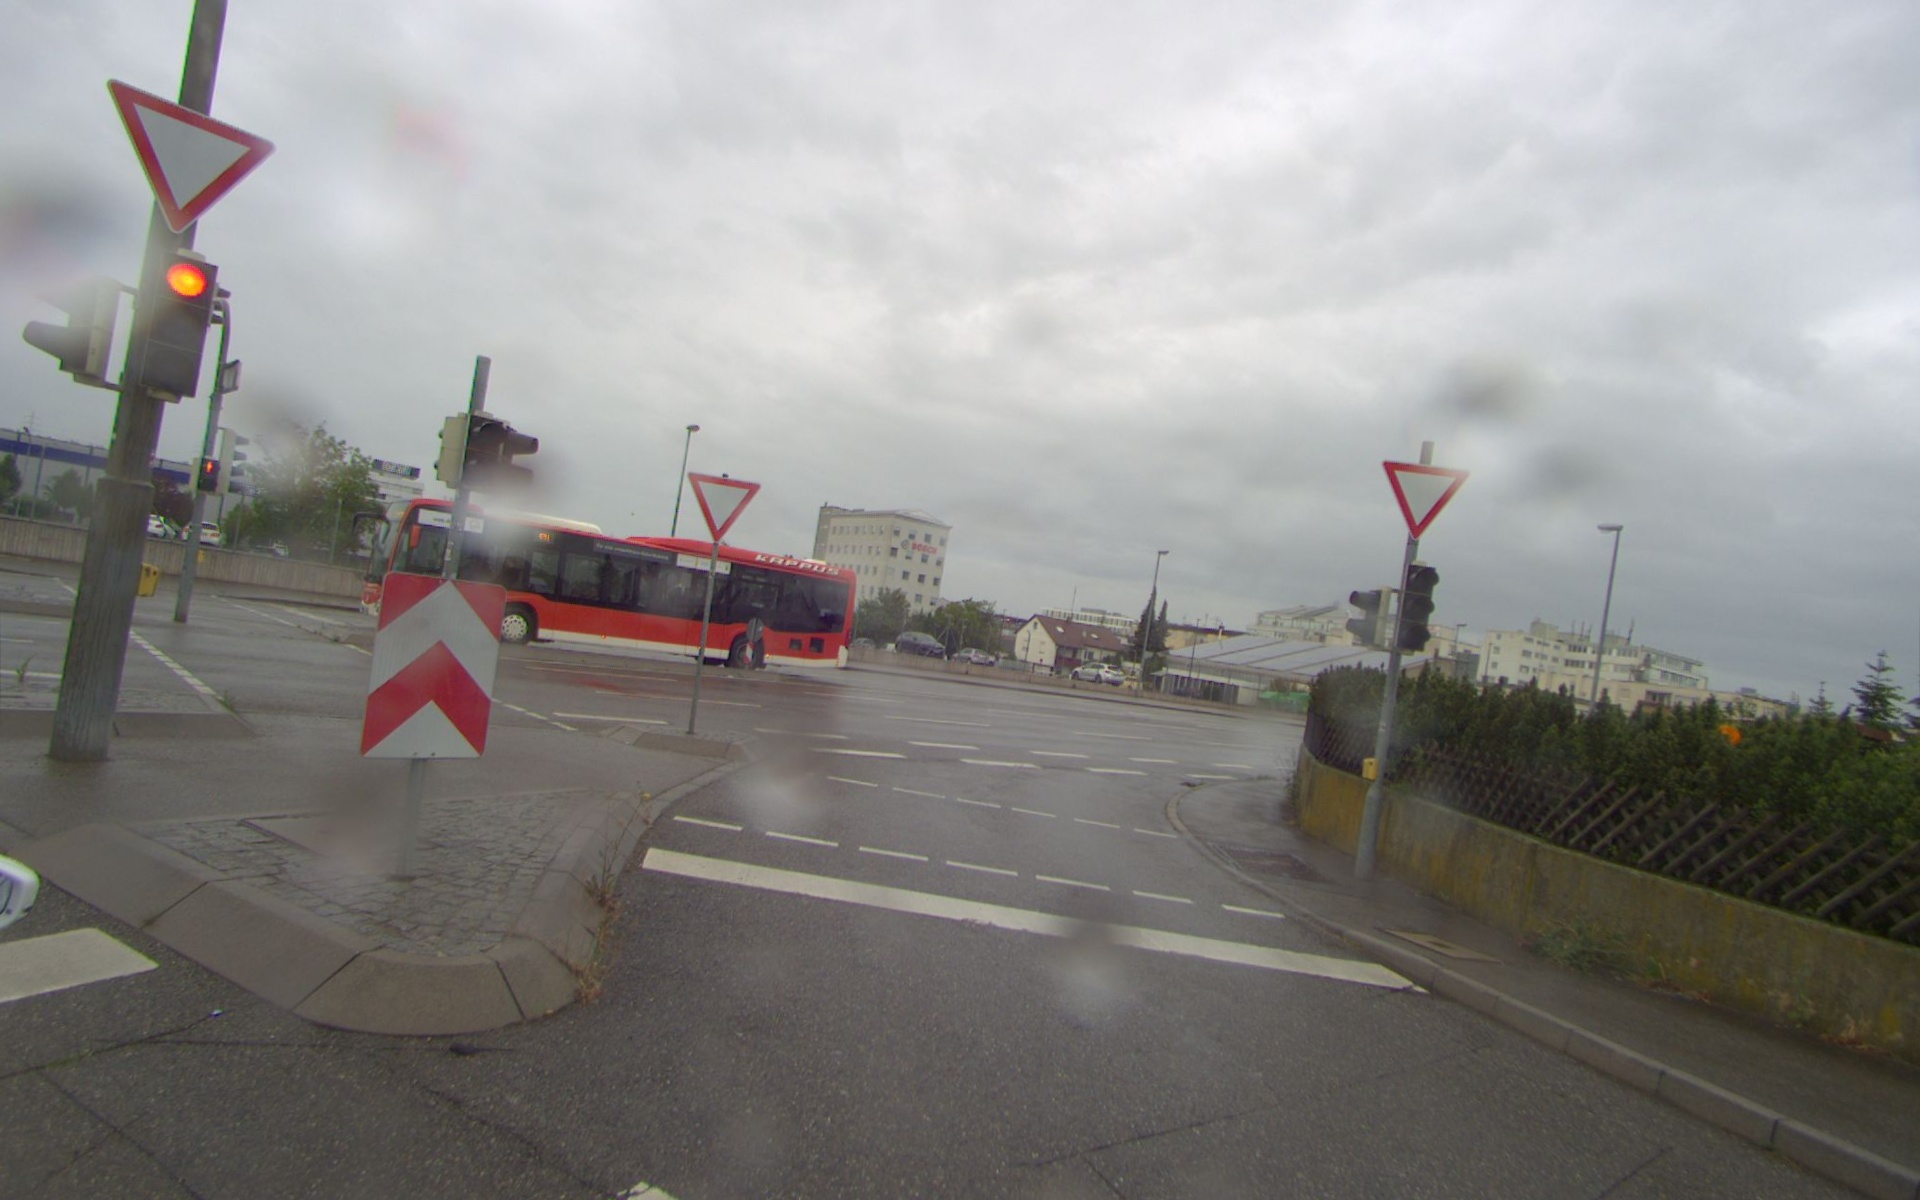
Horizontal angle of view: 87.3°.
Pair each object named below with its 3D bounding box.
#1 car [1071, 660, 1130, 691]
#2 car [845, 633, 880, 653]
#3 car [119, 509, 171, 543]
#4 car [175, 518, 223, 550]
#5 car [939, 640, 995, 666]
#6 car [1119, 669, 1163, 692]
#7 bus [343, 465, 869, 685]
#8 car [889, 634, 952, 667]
[{"bbox_3d":[9.744,5.244,70.046,1.979,1.494,3.971,9,-2,-29],"label":"car"},{"bbox_3d":[-9.755,4.280,100.613,1.979,1.494,3.971,9,-2,-29],"label":"car"},{"bbox_3d":[-45.610,-4.138,56.353,1.985,1.495,3.959,10,-2,-38],"label":"car"},{"bbox_3d":[-43.890,-3.813,58.021,1.986,1.495,3.958,10,-2,-38],"label":"car"},{"bbox_3d":[0.552,4.362,82.217,3.951,1.494,1.989,9,-2,-24],"label":"car"},{"bbox_3d":[18.000,8.000,100.028,3.760,1.771,1.887,9,-2,-29],"label":"car"},{"bbox_3d":[-8.361,-0.279,25.898,12.243,3.357,3.040,12,-3,-41],"label":"bus"},{"bbox_3d":[-2.466,3.082,61.948,1.983,1.495,3.964,10,-2,-34],"label":"car"}]
